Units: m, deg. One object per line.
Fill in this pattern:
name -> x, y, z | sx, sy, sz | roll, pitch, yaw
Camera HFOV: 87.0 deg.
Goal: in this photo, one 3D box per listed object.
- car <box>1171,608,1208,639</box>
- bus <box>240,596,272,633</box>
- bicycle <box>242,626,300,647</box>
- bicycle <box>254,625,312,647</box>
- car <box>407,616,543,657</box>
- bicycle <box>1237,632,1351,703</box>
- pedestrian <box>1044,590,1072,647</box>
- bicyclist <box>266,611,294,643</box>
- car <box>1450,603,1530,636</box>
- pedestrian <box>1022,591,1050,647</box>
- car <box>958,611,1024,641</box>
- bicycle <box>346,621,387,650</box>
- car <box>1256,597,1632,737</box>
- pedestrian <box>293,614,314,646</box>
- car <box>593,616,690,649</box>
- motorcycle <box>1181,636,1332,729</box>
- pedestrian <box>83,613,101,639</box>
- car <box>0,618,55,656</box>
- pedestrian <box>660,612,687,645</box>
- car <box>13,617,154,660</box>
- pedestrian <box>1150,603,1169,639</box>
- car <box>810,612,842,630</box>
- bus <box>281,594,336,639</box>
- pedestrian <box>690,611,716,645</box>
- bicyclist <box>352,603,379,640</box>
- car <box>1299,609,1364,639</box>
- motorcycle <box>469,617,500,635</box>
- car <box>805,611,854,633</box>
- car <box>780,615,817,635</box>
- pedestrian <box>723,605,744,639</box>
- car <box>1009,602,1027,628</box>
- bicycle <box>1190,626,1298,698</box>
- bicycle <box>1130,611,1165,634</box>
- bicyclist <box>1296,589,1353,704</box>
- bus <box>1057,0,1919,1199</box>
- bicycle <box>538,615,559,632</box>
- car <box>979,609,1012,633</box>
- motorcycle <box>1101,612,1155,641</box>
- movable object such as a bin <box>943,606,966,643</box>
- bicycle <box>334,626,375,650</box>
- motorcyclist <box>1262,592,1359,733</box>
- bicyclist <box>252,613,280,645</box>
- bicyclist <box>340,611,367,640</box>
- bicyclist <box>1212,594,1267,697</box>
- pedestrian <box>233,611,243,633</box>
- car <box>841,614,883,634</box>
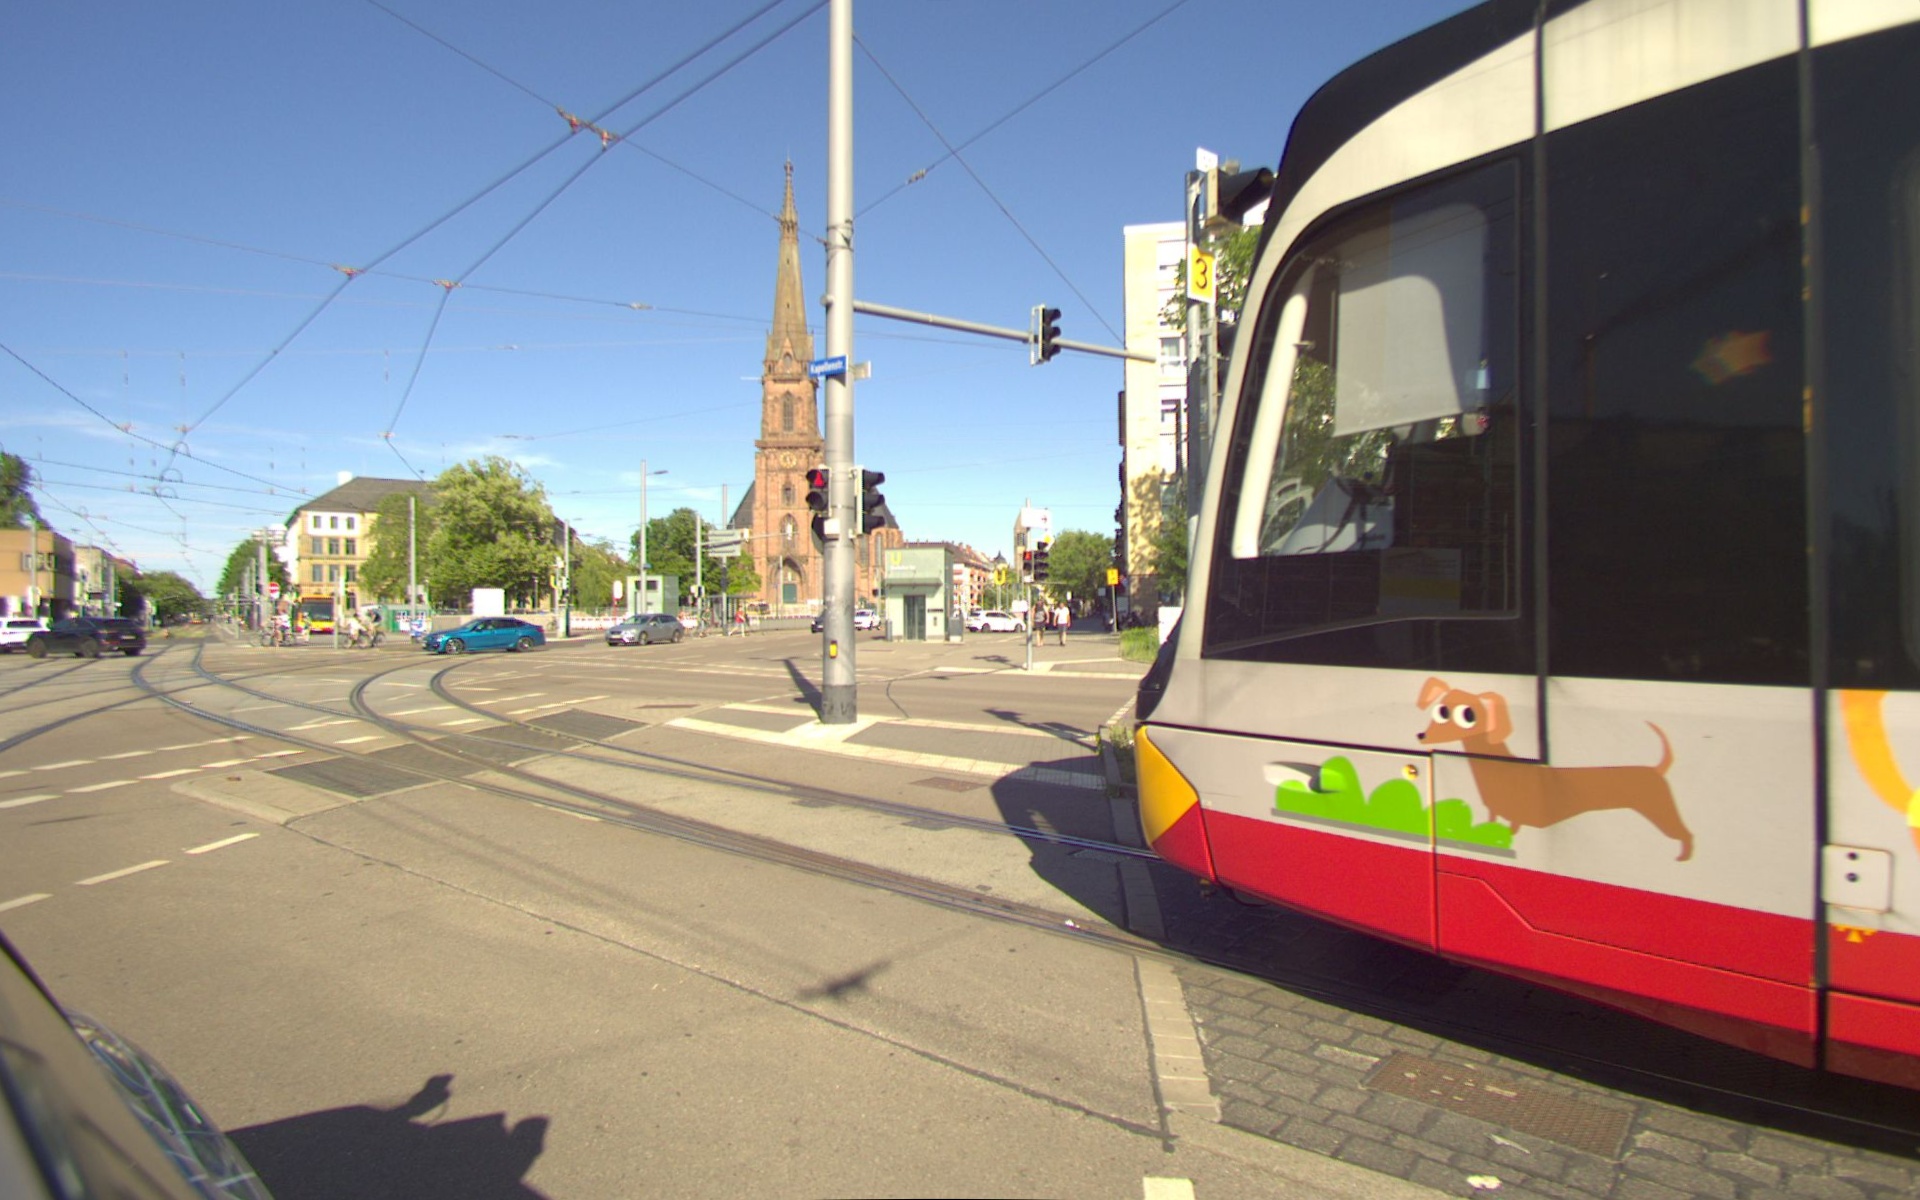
car -> 12.047, 1.201, 53.260 | 1.724, 1.510, 3.987 | -1, -1, 11
bus -> -62.096, 1.283, 89.389 | 2.105, 3.069, 8.580 | -2, 0, -34
bicycle -> -34.602, 1.837, 50.867 | 0.612, 0.997, 2.456 | -1, -1, 25
bicycle -> -33.712, 1.785, 50.441 | 0.612, 0.997, 2.456 | -1, -1, 25
car -> -19.187, 1.411, 40.175 | 4.532, 1.469, 1.915 | 0, 0, -45
bicycle -> 5.353, 1.065, 16.284 | 1.654, 1.082, 0.532 | -2, -2, 42
pedestrian -> 3.625, 0.681, 37.342 | 0.861, 2.045, 0.853 | -1, 1, 15
bicyclist -> -33.802, 1.336, 50.279 | 0.592, 1.561, 0.987 | -1, 0, 26
car -> 25.943, 0.934, 49.708 | 1.974, 1.510, 3.996 | -1, -1, 3
pedestrian -> 2.850, 0.708, 37.847 | 0.861, 2.045, 0.853 | -1, 1, 15
car -> 2.108, 1.707, 67.926 | 3.932, 1.765, 2.006 | -2, 1, -30
bicycle -> -27.363, 1.633, 46.677 | 0.608, 1.266, 1.960 | -1, -1, 6
car -> 5.939, 0.756, 12.712 | 3.970, 1.490, 1.632 | -1, -2, 42
pedestrian -> -34.718, 1.571, 53.515 | 0.605, 1.620, 0.708 | -1, 1, 28
car -> -14.622, 1.456, 46.683 | 1.785, 1.338, 4.566 | 0, 0, 22
motorcycle -> 3.622, 0.983, 12.476 | 1.747, 1.055, 0.513 | -2, -2, 44
pedestrian -> -66.288, 1.993, 77.296 | 0.844, 1.895, 0.695 | -2, 1, -28
car -> -43.418, 1.647, 45.802 | 4.537, 1.653, 1.987 | -1, -1, 24
pedestrian -> -15.848, 1.562, 56.000 | 0.992, 1.813, 0.981 | -1, 1, 36
car -> -34.709, 1.484, 40.112 | 4.586, 1.589, 2.035 | 0, 0, 15
pedestrian -> 9.406, 0.993, 47.765 | 0.642, 1.633, 0.761 | -1, 1, -10
car -> -10.847, 1.667, 82.163 | 1.889, 1.371, 3.996 | -1, -1, 3
bus -> -53.200, 1.251, 82.510 | 2.804, 3.144, 11.847 | -2, 2, -37
pedestrian -> -14.559, 1.578, 57.236 | 0.989, 1.917, 0.984 | -1, 1, 29
bicyclist -> -27.370, 1.002, 46.622 | 0.750, 1.688, 0.793 | -1, -1, 6
car -> 18.500, 1.181, 50.594 | 1.974, 1.399, 3.995 | -1, -1, 4
motorcycle -> -36.635, 2.011, 78.060 | 2.072, 1.263, 0.536 | -2, 1, -37
car -> -8.355, 1.392, 65.215 | 1.778, 1.338, 4.583 | 0, 0, 11
car -> -11.789, 1.797, 74.191 | 1.889, 1.371, 3.996 | -1, -1, 3
pedestrian -> -13.102, 1.269, 58.533 | 0.979, 1.917, 0.995 | -1, 1, -5
car -> 7.468, 1.892, 130.094 | 1.976, 3.130, 4.913 | -1, 1, 6
bicycle -> 4.954, 1.074, 17.737 | 1.753, 1.193, 0.532 | -2, -2, 42
bicycle -> 10.498, 1.273, 56.679 | 1.927, 1.225, 0.617 | -1, 1, 11
bicyclist -> 5.755, 0.731, 15.973 | 0.601, 1.756, 0.568 | -3, -1, 42
bus -> 6.369, -0.558, 0.323 | 13.488, 3.617, 2.811 | -1, 0, 41
bicycle -> -32.976, 1.877, 81.025 | 1.476, 1.279, 0.366 | -2, 1, -32
car -> 2.808, 1.618, 79.866 | 1.979, 1.678, 3.986 | -1, 1, 12
motorcycle -> 7.763, 1.216, 46.614 | 1.288, 1.186, 2.935 | -1, 1, 35
movable object such as a bin -> -0.257, 1.139, 46.624 | 0.926, 1.646, 0.989 | -1, 1, 8
bicycle -> -28.480, 1.783, 47.590 | 0.610, 1.114, 1.716 | -1, -1, 15
motorcyclist -> 4.137, 0.707, 11.963 | 0.943, 1.592, 0.579 | 0, -1, 43
bicyclist -> -34.728, 1.437, 50.640 | 0.573, 1.540, 0.948 | -1, 1, 25
bicyclist -> -28.491, 1.185, 47.558 | 0.753, 1.332, 0.791 | -1, -1, 16
bicyclist -> 4.900, 0.792, 17.771 | 0.678, 1.756, 0.568 | -3, -1, 42
pedestrian -> -63.343, 1.931, 88.792 | 0.680, 1.875, 0.731 | -2, 1, -32
car -> -7.049, 1.703, 73.031 | 1.778, 1.338, 4.583 | 0, 0, 11
